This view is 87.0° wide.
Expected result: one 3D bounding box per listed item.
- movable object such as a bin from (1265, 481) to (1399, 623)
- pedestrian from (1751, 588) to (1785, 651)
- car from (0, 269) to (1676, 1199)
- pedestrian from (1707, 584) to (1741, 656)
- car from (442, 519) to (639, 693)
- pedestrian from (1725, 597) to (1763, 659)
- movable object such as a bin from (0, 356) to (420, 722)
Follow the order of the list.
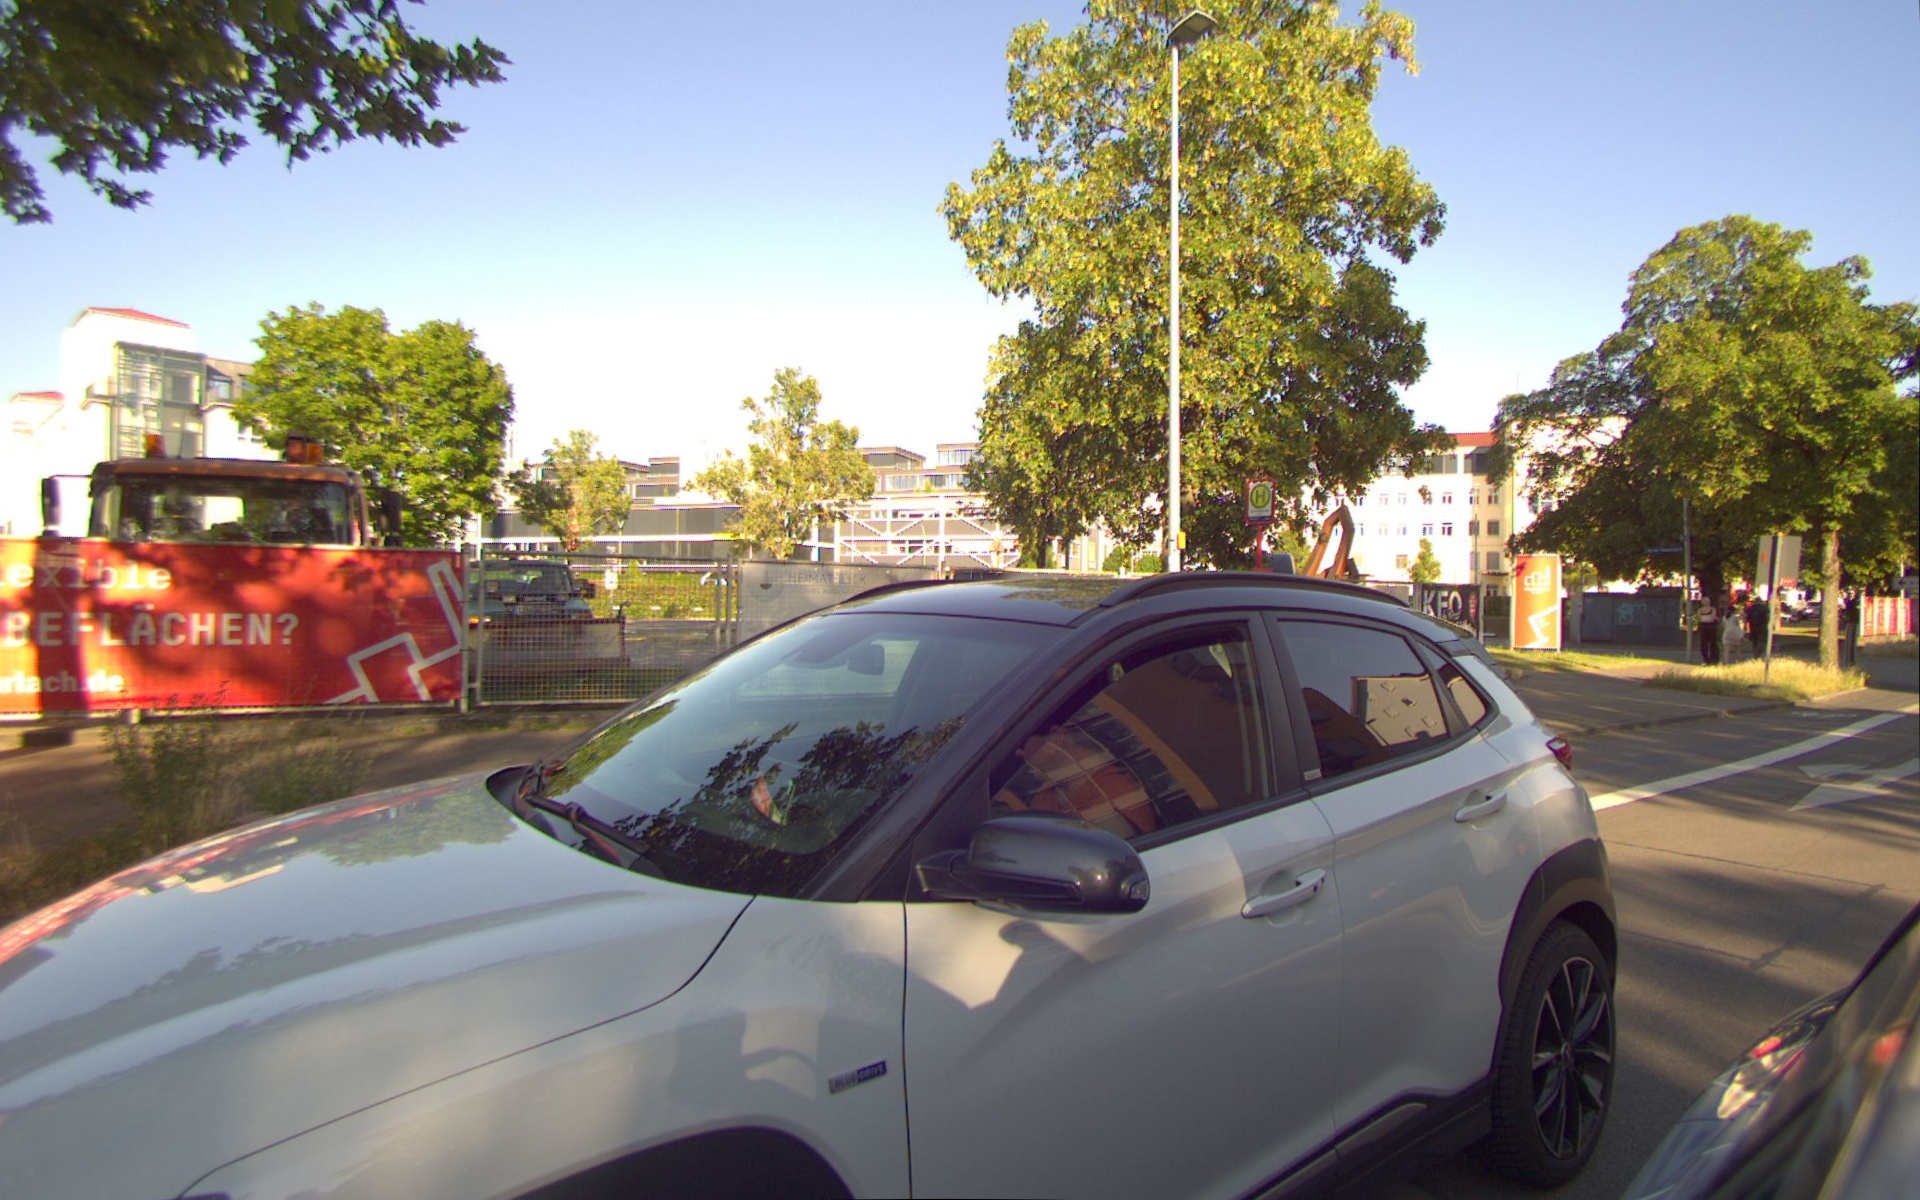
[{"bbox_3d":[15.520,-1.884,42.764,3.910,5.547,6.022,0,0,6],"label":"movable object such as a bin"},{"bbox_3d":[21.953,0.513,27.504,0.692,1.689,0.630,0,0,37],"label":"pedestrian"},{"bbox_3d":[-0.013,0.631,2.459,3.893,1.618,1.894,3,-2,-39],"label":"car"},{"bbox_3d":[19.037,0.488,25.226,0.607,1.759,0.629,0,0,44],"label":"pedestrian"},{"bbox_3d":[-5.668,0.042,13.295,2.001,1.851,4.612,0,0,-28],"label":"car"},{"bbox_3d":[18.909,0.660,24.401,0.627,1.452,0.609,0,0,-40],"label":"pedestrian"},{"bbox_3d":[-8.392,-0.550,12.055,3.154,3.087,6.295,0,0,-31],"label":"movable object such as a bin"}]
